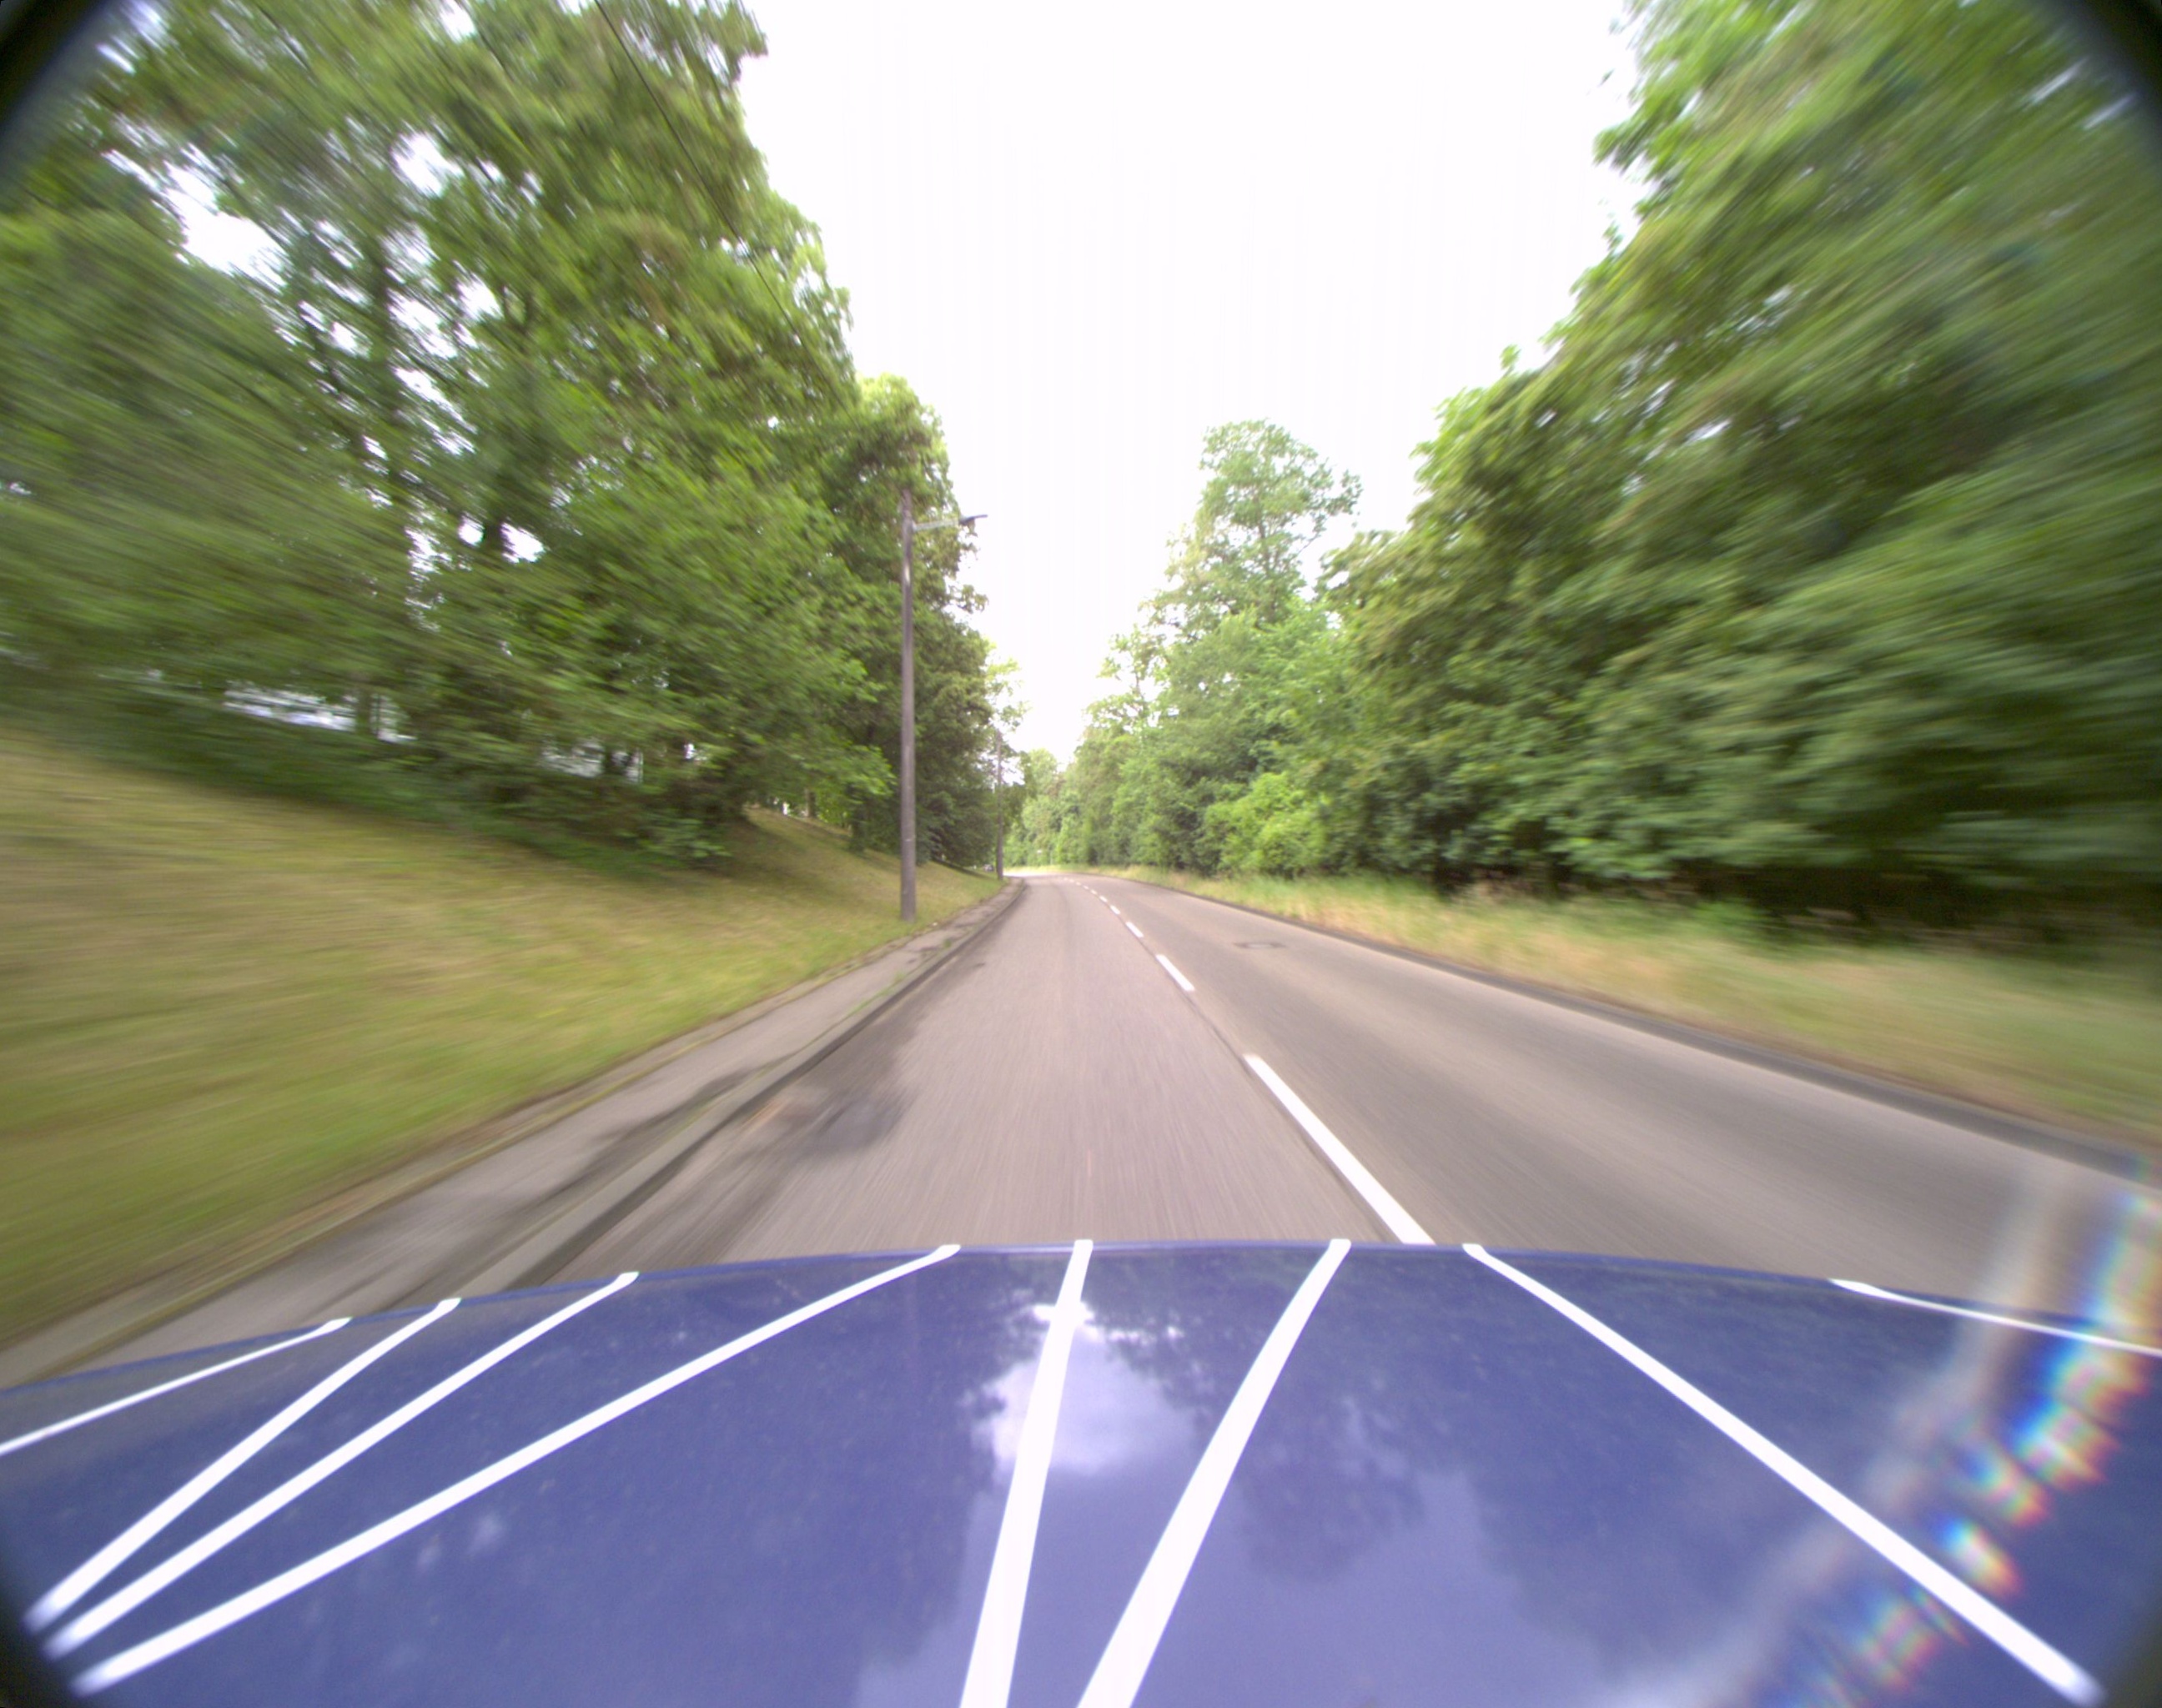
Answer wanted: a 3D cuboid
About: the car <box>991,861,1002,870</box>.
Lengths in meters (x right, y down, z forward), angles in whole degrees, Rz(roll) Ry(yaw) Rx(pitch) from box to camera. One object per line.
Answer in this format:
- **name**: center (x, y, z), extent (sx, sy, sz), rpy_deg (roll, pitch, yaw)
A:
- **car**: center (-14.342, 1.930, 128.412), extent (1.668, 1.485, 3.313), rpy_deg (-1, -2, -9)
